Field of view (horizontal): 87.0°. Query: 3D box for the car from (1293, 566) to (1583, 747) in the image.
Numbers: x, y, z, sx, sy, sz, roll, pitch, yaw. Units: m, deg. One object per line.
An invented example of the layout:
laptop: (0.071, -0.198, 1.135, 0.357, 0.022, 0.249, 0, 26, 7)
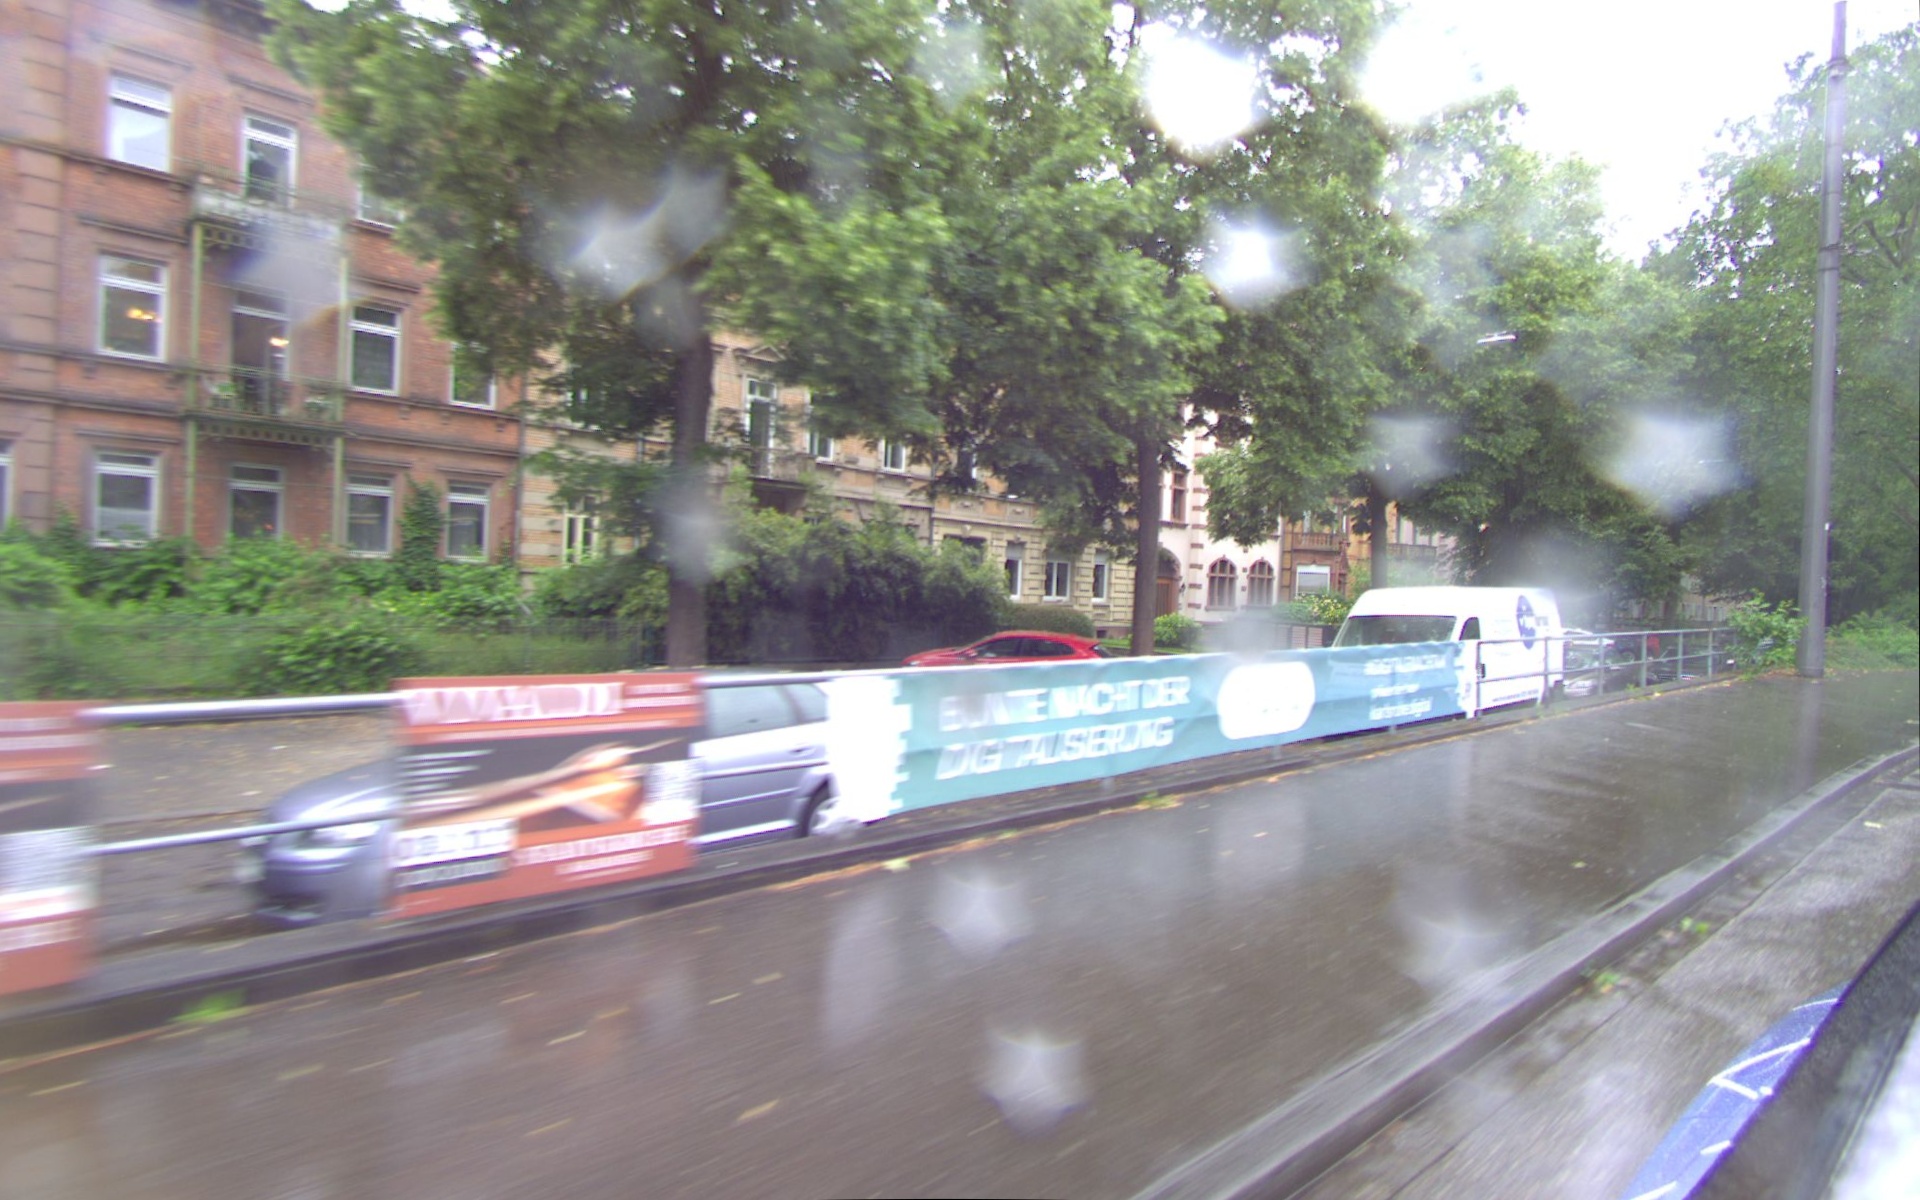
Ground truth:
car: (8.023, 0.775, 16.619, 6.054, 2.451, 2.211, 0, -1, -43)

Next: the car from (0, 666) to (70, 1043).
car: (-5.799, 1.075, 3.594, 3.903, 1.418, 1.706, 0, 0, -41)

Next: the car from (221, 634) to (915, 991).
car: (-2.386, 1.071, 6.794, 4.005, 1.559, 1.734, 0, 0, -42)

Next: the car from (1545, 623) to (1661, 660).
car: (28.837, 1.847, 45.518, 3.942, 1.482, 1.904, 1, 0, 15)

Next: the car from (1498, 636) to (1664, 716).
car: (13.126, 1.517, 21.295, 4.312, 1.370, 1.968, 0, -1, -44)

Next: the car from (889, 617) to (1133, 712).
car: (1.009, 1.177, 19.632, 4.373, 1.471, 1.888, 2, 0, 18)

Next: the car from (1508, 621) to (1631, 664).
car: (25.226, 1.739, 42.016, 3.942, 1.585, 1.991, 1, 0, 15)

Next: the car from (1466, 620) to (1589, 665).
car: (22.328, 1.647, 39.998, 3.948, 1.629, 1.814, 1, 0, 19)

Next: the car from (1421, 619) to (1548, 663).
car: (19.598, 1.514, 38.004, 3.948, 1.482, 1.988, 1, 0, 19)
